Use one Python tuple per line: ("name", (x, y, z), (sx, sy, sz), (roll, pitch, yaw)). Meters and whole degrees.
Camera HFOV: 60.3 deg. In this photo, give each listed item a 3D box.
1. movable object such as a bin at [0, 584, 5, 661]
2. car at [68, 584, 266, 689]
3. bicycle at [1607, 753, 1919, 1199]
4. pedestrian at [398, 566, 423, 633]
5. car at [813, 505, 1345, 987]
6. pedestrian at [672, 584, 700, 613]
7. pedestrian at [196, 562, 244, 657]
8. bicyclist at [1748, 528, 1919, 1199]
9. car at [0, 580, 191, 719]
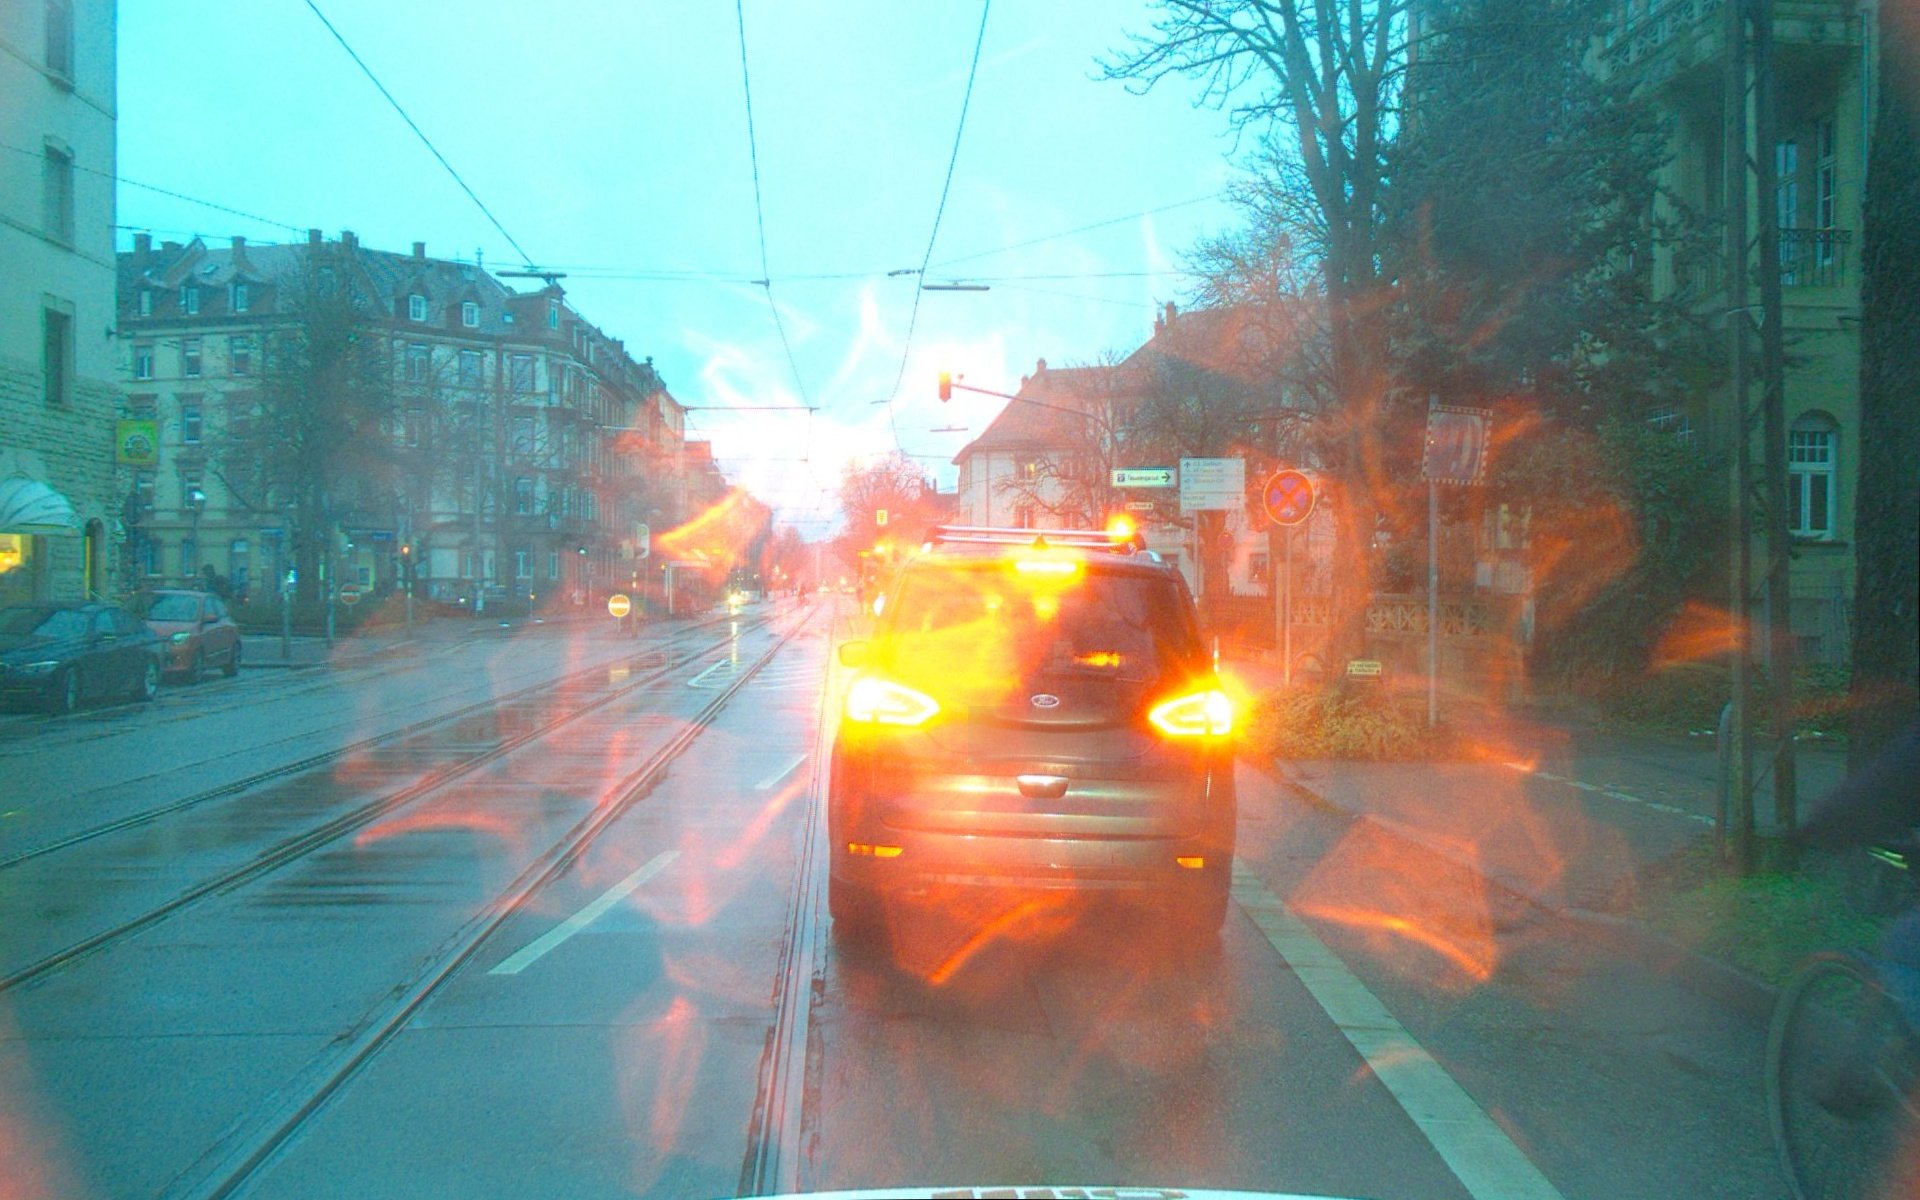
("movable object such as a bin", (-17.866, 0.404, 29.226), (1.268, 1.391, 1.251), (0, 0, -4))
("car", (-13.961, 0.597, 29.397), (2.000, 1.578, 4.024), (4, 1, -9))
("bicycle", (2.212, 1.005, 3.428), (0.703, 1.131, 1.938), (4, 0, -8))
("pedestrian", (-17.063, -0.015, 51.386), (0.695, 2.049, 0.656), (0, 0, -23))
("car", (0.409, 0.562, 8.866), (2.061, 1.848, 4.659), (2, 0, -2))
("pedestrian", (-11.515, -0.055, 69.510), (1.026, 1.221, 0.884), (1, 0, -3))
("pedestrian", (-16.291, 0.205, 36.433), (0.742, 2.049, 0.646), (0, -1, 32))
("bicyclist", (2.239, 0.724, 3.268), (0.703, 1.691, 1.054), (4, 0, -8))
("car", (-12.877, 0.628, 23.581), (1.948, 1.674, 4.624), (5, -1, -6))
